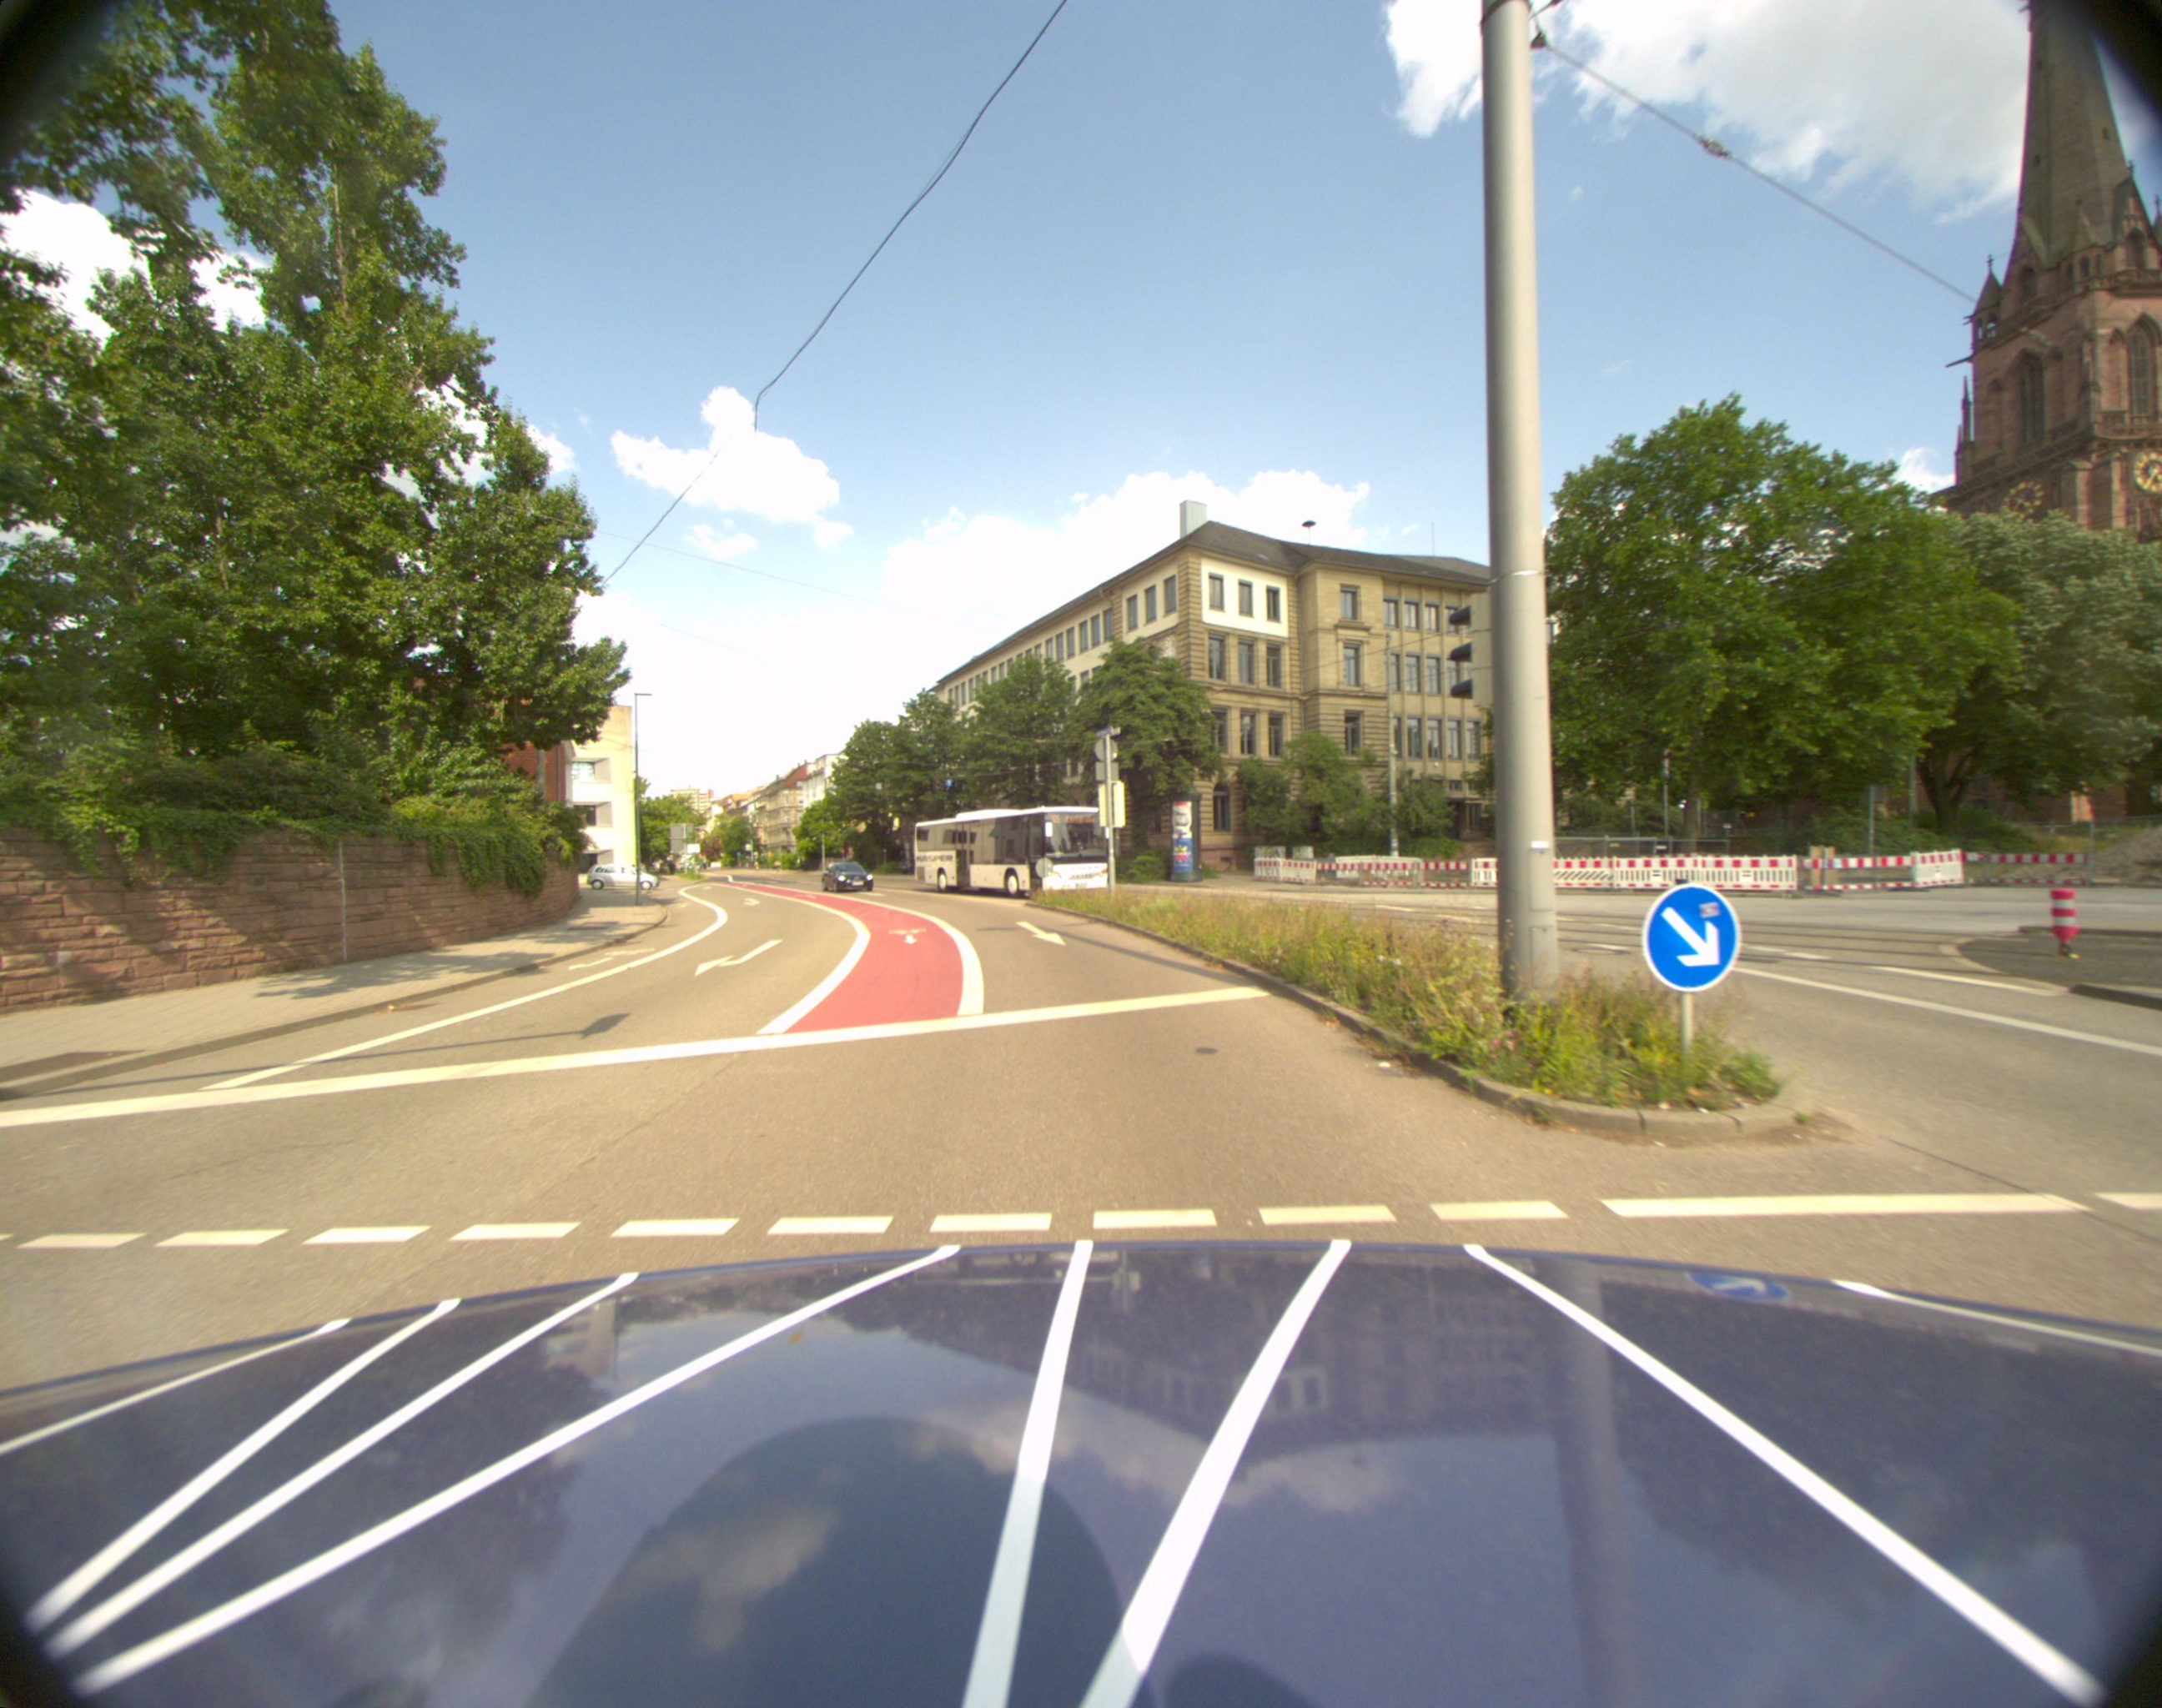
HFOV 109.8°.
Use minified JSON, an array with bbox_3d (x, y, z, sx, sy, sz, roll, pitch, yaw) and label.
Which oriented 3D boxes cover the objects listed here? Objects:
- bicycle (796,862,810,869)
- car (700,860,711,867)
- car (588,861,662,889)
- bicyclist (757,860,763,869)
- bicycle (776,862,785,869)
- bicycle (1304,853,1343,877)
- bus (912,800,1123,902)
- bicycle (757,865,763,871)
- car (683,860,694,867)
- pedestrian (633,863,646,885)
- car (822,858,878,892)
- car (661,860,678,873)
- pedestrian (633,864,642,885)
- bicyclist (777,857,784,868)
[{"bbox_3d":[-38.897,1.612,106.322,1.148,0.904,2.981,-5,2,-32],"label":"bicycle"},{"bbox_3d":[-82.842,2.055,167.590,1.697,1.393,3.921,1,-1,-32],"label":"car"},{"bbox_3d":[-28.936,1.337,48.334,3.898,1.595,1.662,-1,-1,-29],"label":"car"},{"bbox_3d":[-52.599,1.714,124.499,0.602,1.483,0.880,4,-3,-29],"label":"bicyclist"},{"bbox_3d":[-42.121,1.612,106.551,0.702,1.011,1.815,-1,0,-35],"label":"bicycle"},{"bbox_3d":[12.632,0.562,39.554,2.124,1.161,0.728,-3,2,-33],"label":"bicycle"},{"bbox_3d":[-3.136,-0.125,30.485,2.932,3.309,12.175,-3,1,-33],"label":"bus"},{"bbox_3d":[-52.621,2.299,124.461,0.605,1.090,2.018,4,-3,-29],"label":"bicycle"},{"bbox_3d":[-99.613,2.418,192.942,1.907,1.896,5.371,-2,0,-33],"label":"car"},{"bbox_3d":[-33.606,1.525,57.818,0.687,1.714,0.746,0,-1,-20],"label":"pedestrian"},{"bbox_3d":[-11.551,1.025,37.808,1.697,1.568,4.147,-2,0,-31],"label":"car"},{"bbox_3d":[-64.416,1.990,118.864,1.904,1.929,4.938,-2,0,-32],"label":"car"},{"bbox_3d":[-32.971,1.525,56.471,0.522,1.570,0.547,0,-2,-42],"label":"pedestrian"},{"bbox_3d":[-42.164,1.157,106.587,0.694,1.510,0.866,0,0,-35],"label":"bicyclist"}]
